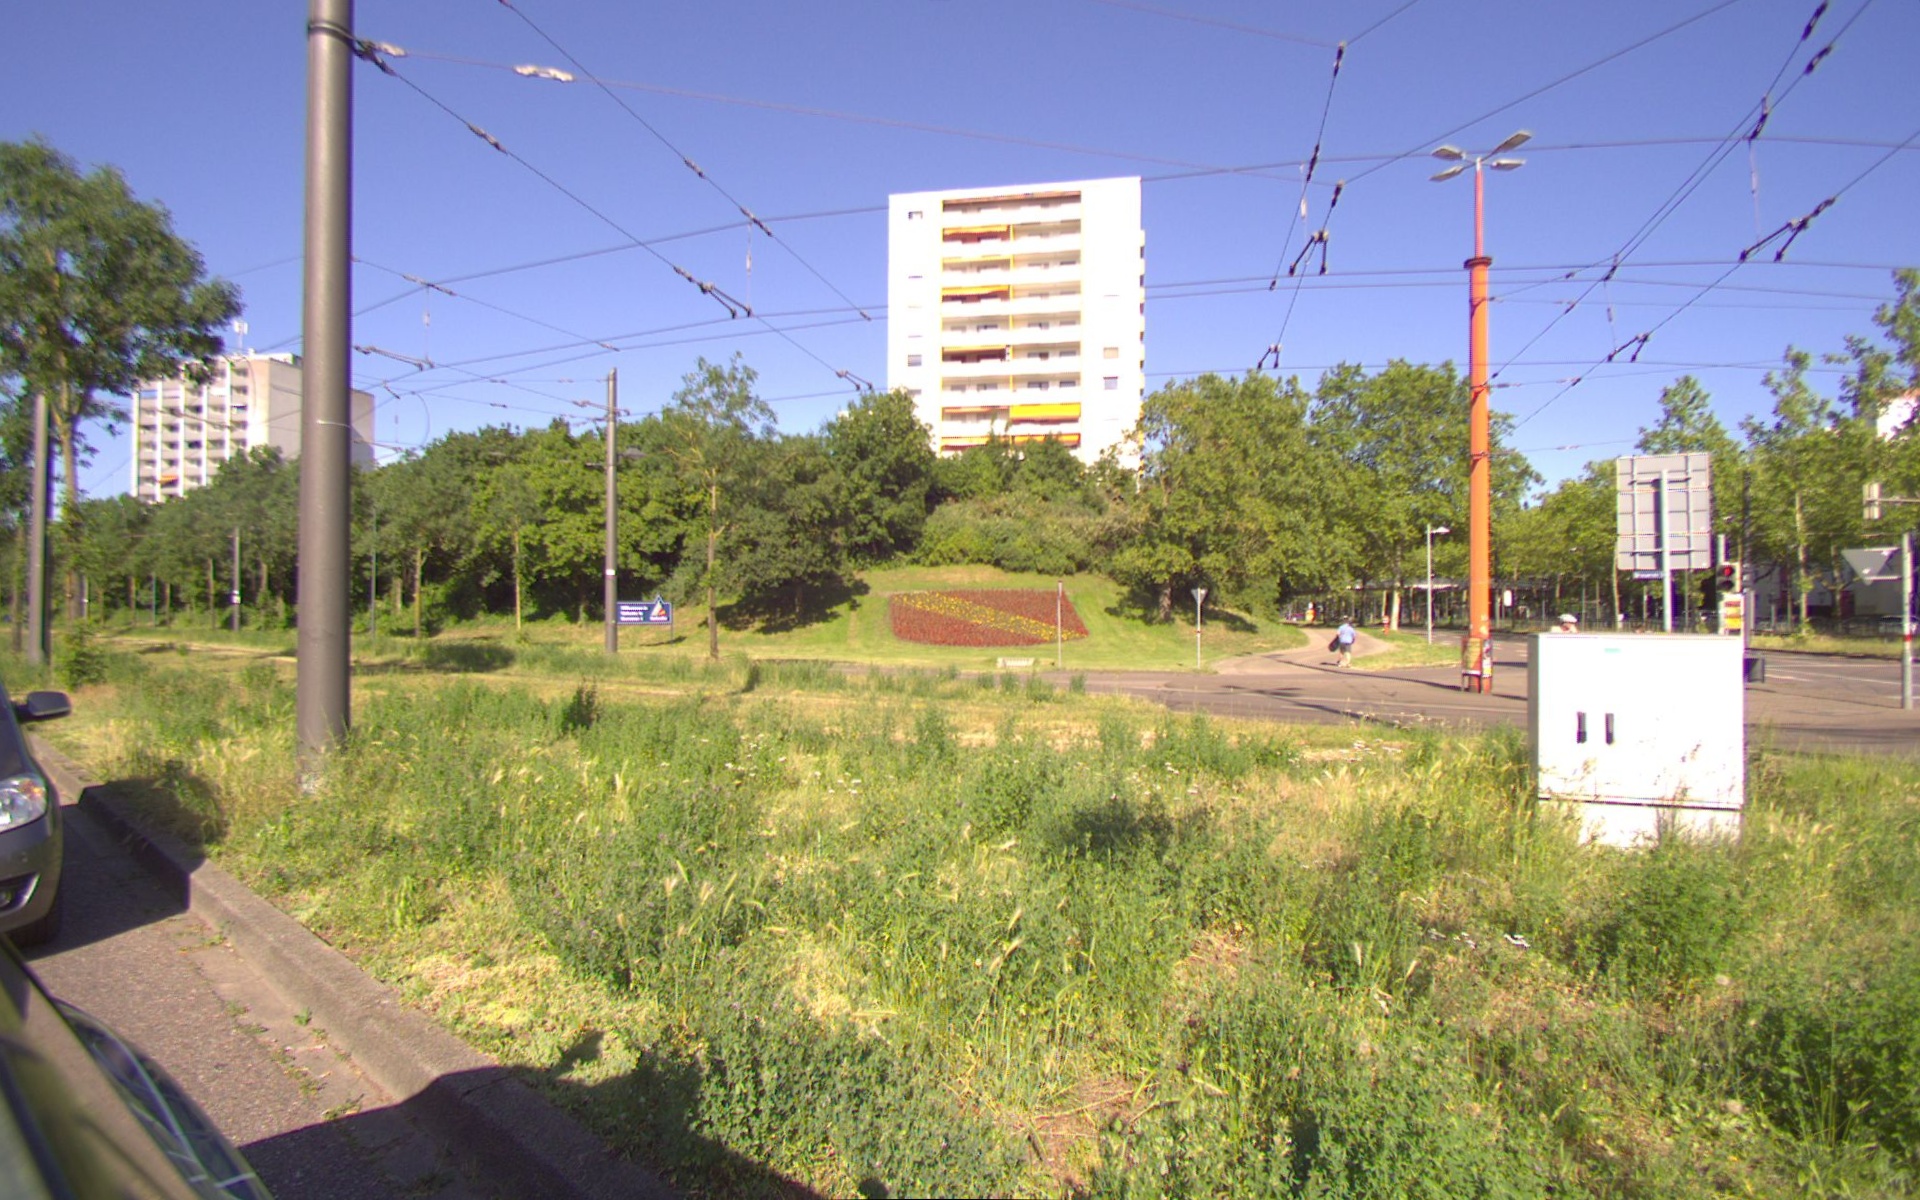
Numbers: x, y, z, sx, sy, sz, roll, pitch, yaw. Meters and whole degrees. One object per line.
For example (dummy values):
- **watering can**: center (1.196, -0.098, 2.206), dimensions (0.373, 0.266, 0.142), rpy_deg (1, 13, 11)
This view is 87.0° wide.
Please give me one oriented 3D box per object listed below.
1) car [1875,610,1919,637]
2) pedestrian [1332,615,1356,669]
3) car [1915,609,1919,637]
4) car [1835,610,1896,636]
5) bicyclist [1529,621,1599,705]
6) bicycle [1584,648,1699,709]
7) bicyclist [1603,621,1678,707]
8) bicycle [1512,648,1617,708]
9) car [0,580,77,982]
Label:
- **car**: center (65.290, 1.636, 69.775), dimensions (3.931, 1.829, 2.006), rpy_deg (0, -2, -27)
- **pedestrian**: center (13.965, 1.525, 36.799), dimensions (0.729, 1.949, 0.726), rpy_deg (-1, -2, 24)
- **car**: center (64.403, 1.501, 65.899), dimensions (3.931, 1.829, 2.006), rpy_deg (0, -2, -27)
- **car**: center (66.013, 1.695, 73.758), dimensions (3.931, 1.829, 2.006), rpy_deg (0, -2, -27)
- **bicyclist**: center (12.094, 1.256, 20.296), dimensions (0.920, 1.650, 0.741), rpy_deg (0, -1, -1)
- **bicycle**: center (13.355, 1.519, 19.911), dimensions (0.915, 1.095, 1.888), rpy_deg (0, -1, -2)
- **bicyclist**: center (13.352, 1.239, 19.877), dimensions (0.920, 1.650, 0.741), rpy_deg (0, -1, -1)
- **bicycle**: center (12.090, 1.534, 20.313), dimensions (0.915, 1.095, 1.888), rpy_deg (0, -1, -2)
- **car**: center (-5.942, 0.753, 5.038), dimensions (4.382, 1.619, 1.754), rpy_deg (-1, -2, 41)
